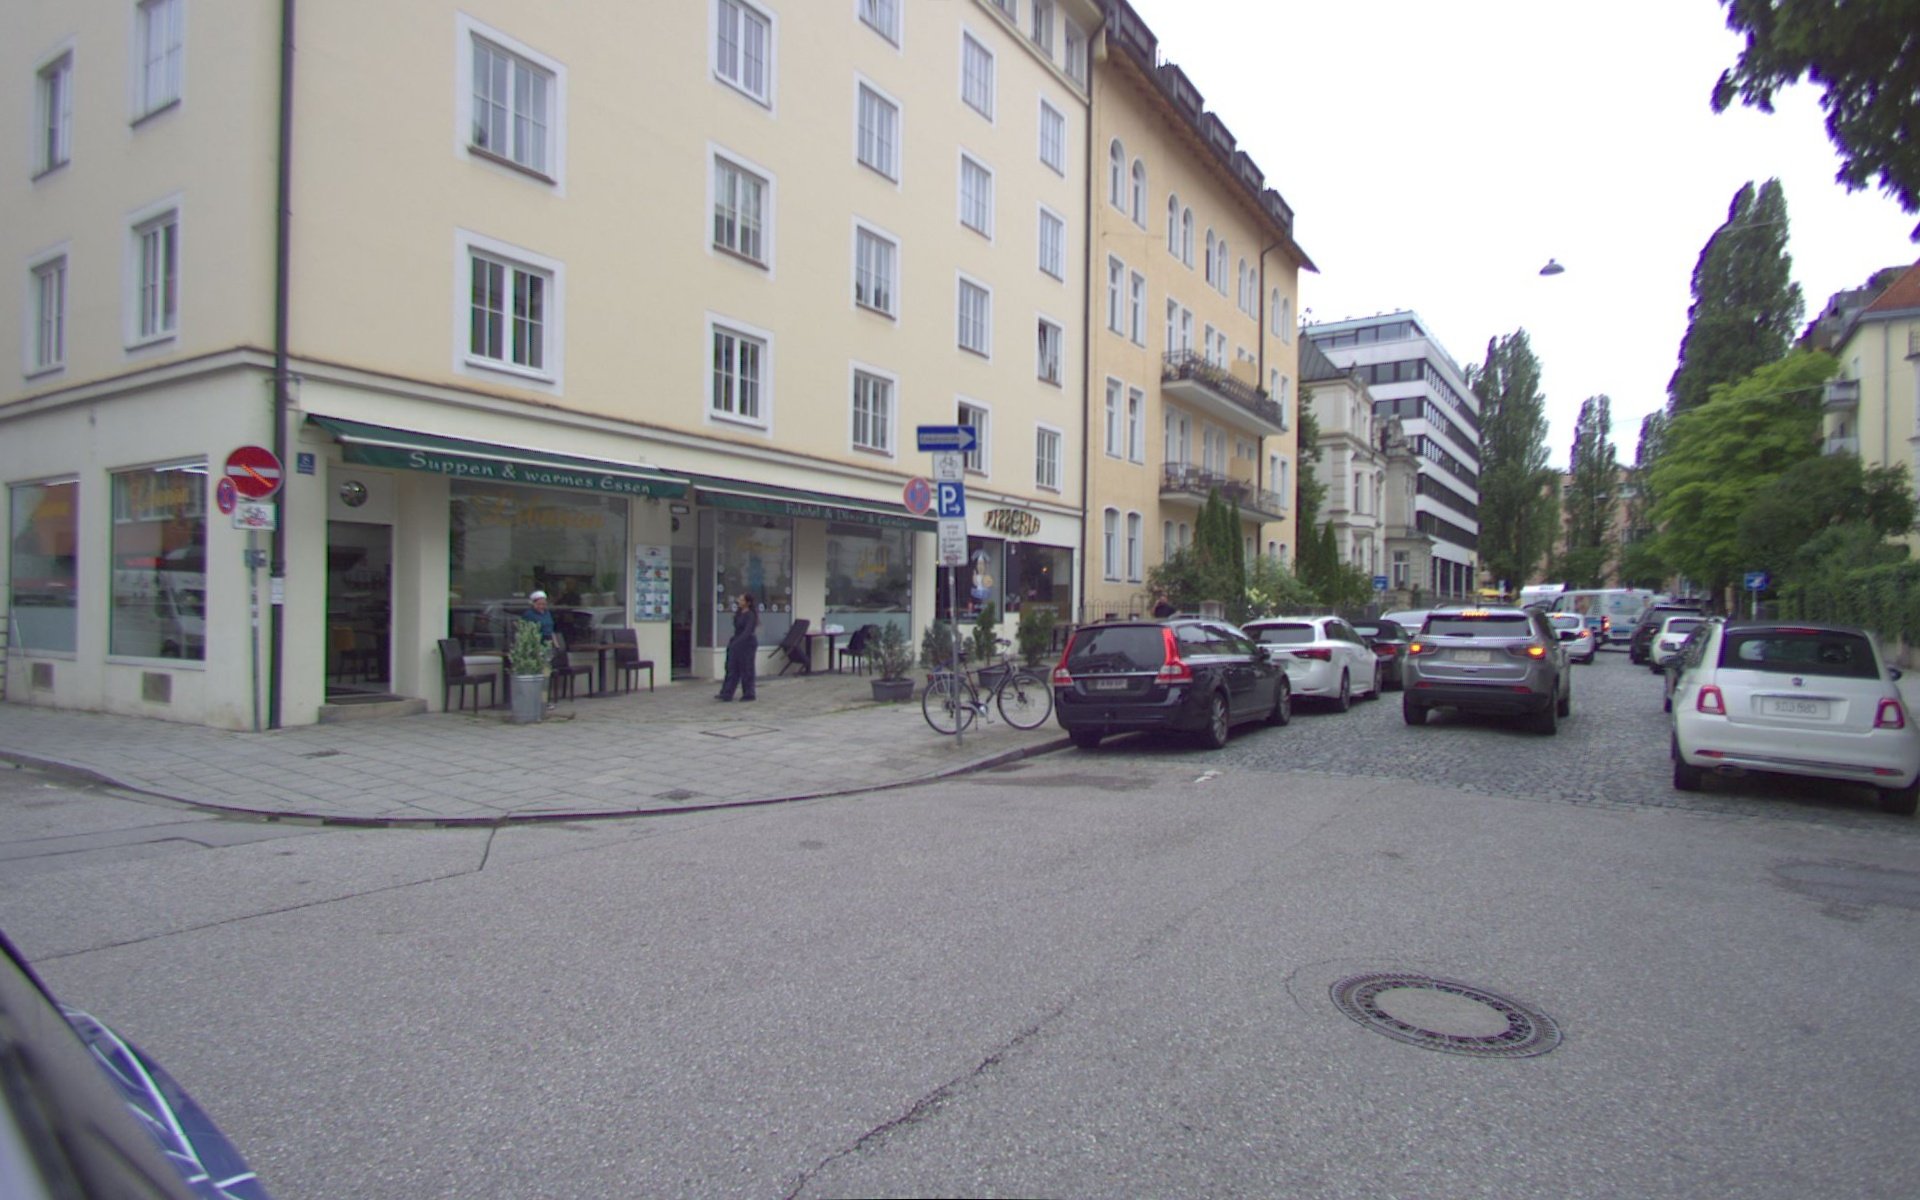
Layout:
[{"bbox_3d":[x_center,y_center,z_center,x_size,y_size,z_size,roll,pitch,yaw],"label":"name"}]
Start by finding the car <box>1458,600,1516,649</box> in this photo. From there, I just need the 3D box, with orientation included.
[{"bbox_3d":[21.165,0.962,40.579,1.703,1.874,3.955,0,-1,33],"label":"car"}]

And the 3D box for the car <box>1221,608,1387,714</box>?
[{"bbox_3d":[5.783,0.919,16.696,1.678,1.519,4.218,-3,-2,31],"label":"car"}]

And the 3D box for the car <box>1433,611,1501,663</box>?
[{"bbox_3d":[17.578,1.224,35.011,1.703,1.660,3.955,0,-1,33],"label":"car"}]

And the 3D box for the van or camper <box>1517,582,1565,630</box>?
[{"bbox_3d":[37.564,0.372,65.389,2.421,2.957,5.311,0,-1,33],"label":"van or camper"}]

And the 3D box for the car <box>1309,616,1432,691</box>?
[{"bbox_3d":[8.514,1.023,20.804,1.590,1.351,3.768,0,-1,34],"label":"car"}]

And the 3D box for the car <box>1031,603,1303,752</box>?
[{"bbox_3d":[2.773,0.859,12.703,1.897,1.527,4.300,-5,-3,32],"label":"car"}]

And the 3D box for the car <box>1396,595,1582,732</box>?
[{"bbox_3d":[7.580,0.789,14.281,1.958,1.620,4.261,0,-1,33],"label":"car"}]

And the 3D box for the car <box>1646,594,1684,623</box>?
[{"bbox_3d":[41.753,0.505,60.030,1.703,1.660,3.955,0,-1,33],"label":"car"}]

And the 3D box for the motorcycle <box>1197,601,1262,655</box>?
[{"bbox_3d":[7.655,0.802,28.664,0.961,1.473,2.857,0,-2,32],"label":"motorcycle"}]

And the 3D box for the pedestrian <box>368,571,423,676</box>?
[{"bbox_3d":[-9.630,0.408,17.298,0.746,1.738,0.772,2,-2,-27],"label":"pedestrian"}]

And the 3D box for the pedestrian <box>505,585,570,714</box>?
[{"bbox_3d":[-5.603,0.641,13.448,0.534,1.654,0.602,0,-1,18],"label":"pedestrian"}]

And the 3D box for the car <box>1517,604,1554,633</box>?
[{"bbox_3d":[34.157,1.052,60.009,1.703,1.660,3.955,0,-1,33],"label":"car"}]

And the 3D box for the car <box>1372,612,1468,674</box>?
[{"bbox_3d":[11.834,1.037,25.932,1.616,1.453,3.953,0,-1,34],"label":"car"}]

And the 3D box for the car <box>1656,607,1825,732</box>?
[{"bbox_3d":[10.773,0.844,14.120,1.649,1.484,3.951,0,-1,36],"label":"car"}]

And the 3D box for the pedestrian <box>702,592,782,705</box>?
[{"bbox_3d":[-3.194,0.682,14.862,0.747,1.563,0.843,2,1,32],"label":"pedestrian"}]

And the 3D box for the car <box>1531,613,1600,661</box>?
[{"bbox_3d":[17.955,1.056,29.974,1.602,1.340,2.919,0,-1,34],"label":"car"}]

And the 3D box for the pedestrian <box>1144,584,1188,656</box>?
[{"bbox_3d":[4.918,0.459,24.125,0.731,1.669,0.783,2,1,34],"label":"pedestrian"}]

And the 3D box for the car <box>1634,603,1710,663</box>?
[{"bbox_3d":[21.170,0.936,30.205,1.703,1.660,3.955,0,-1,33],"label":"car"}]

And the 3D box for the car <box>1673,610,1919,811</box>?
[{"bbox_3d":[7.722,0.835,9.499,1.682,1.460,3.952,0,0,35],"label":"car"}]

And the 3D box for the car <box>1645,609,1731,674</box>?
[{"bbox_3d":[18.837,1.012,26.308,1.683,1.545,3.825,0,-1,34],"label":"car"}]

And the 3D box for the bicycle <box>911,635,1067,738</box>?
[{"bbox_3d":[0.352,1.037,12.471,1.803,1.178,0.611,1,1,-18],"label":"bicycle"}]

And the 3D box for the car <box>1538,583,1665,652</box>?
[{"bbox_3d":[24.355,0.644,38.647,2.135,2.494,4.597,0,-1,4],"label":"car"}]

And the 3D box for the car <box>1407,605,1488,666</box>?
[{"bbox_3d":[14.557,1.003,30.110,1.703,1.660,3.955,0,-1,33],"label":"car"}]
